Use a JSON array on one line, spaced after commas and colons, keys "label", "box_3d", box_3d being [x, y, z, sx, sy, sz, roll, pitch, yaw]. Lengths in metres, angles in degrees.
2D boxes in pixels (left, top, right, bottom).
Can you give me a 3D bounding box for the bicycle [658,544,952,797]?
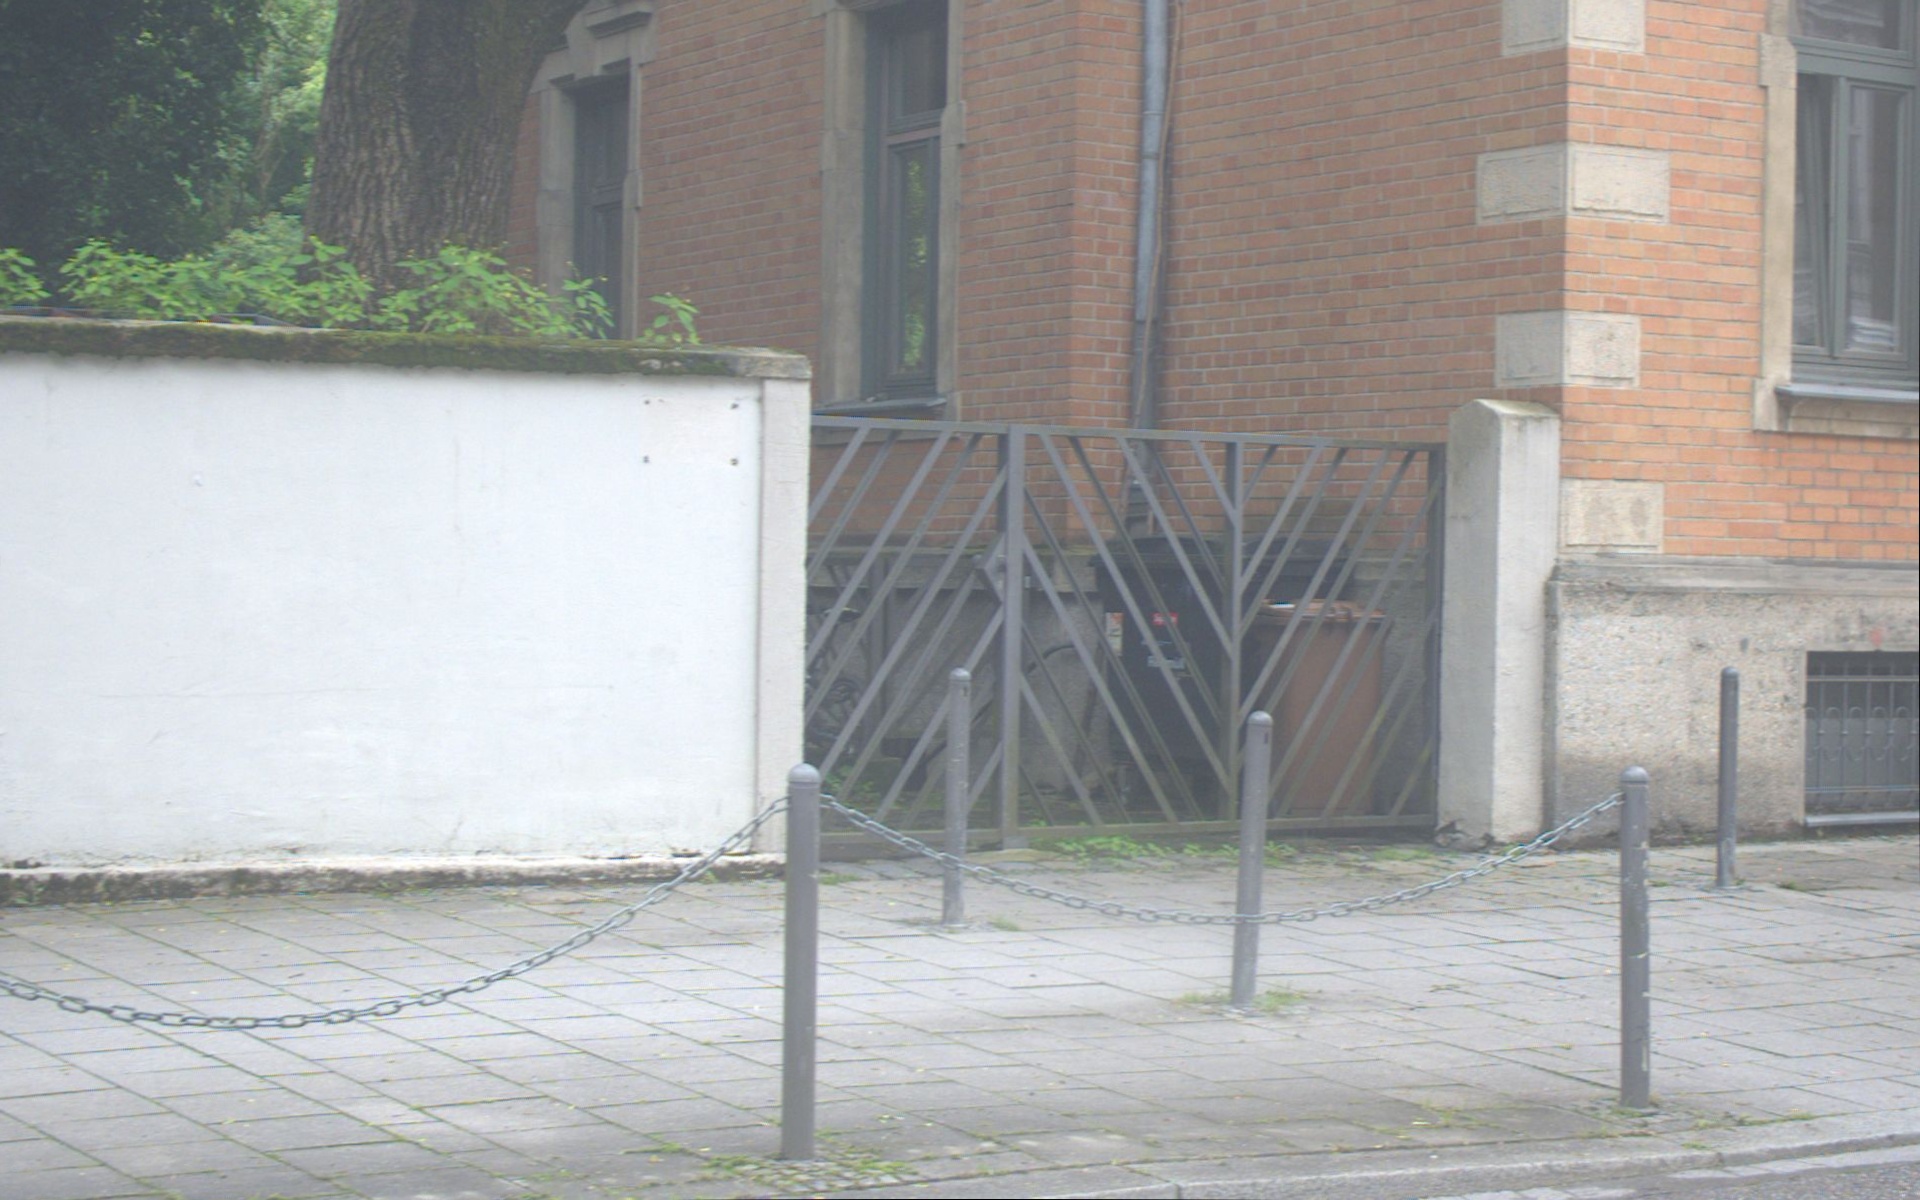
[{"label": "bicycle", "box_3d": [-0.827, 0.329, 17.599, 0.534, 1.215, 2.083, 1, 0, -32]}]
